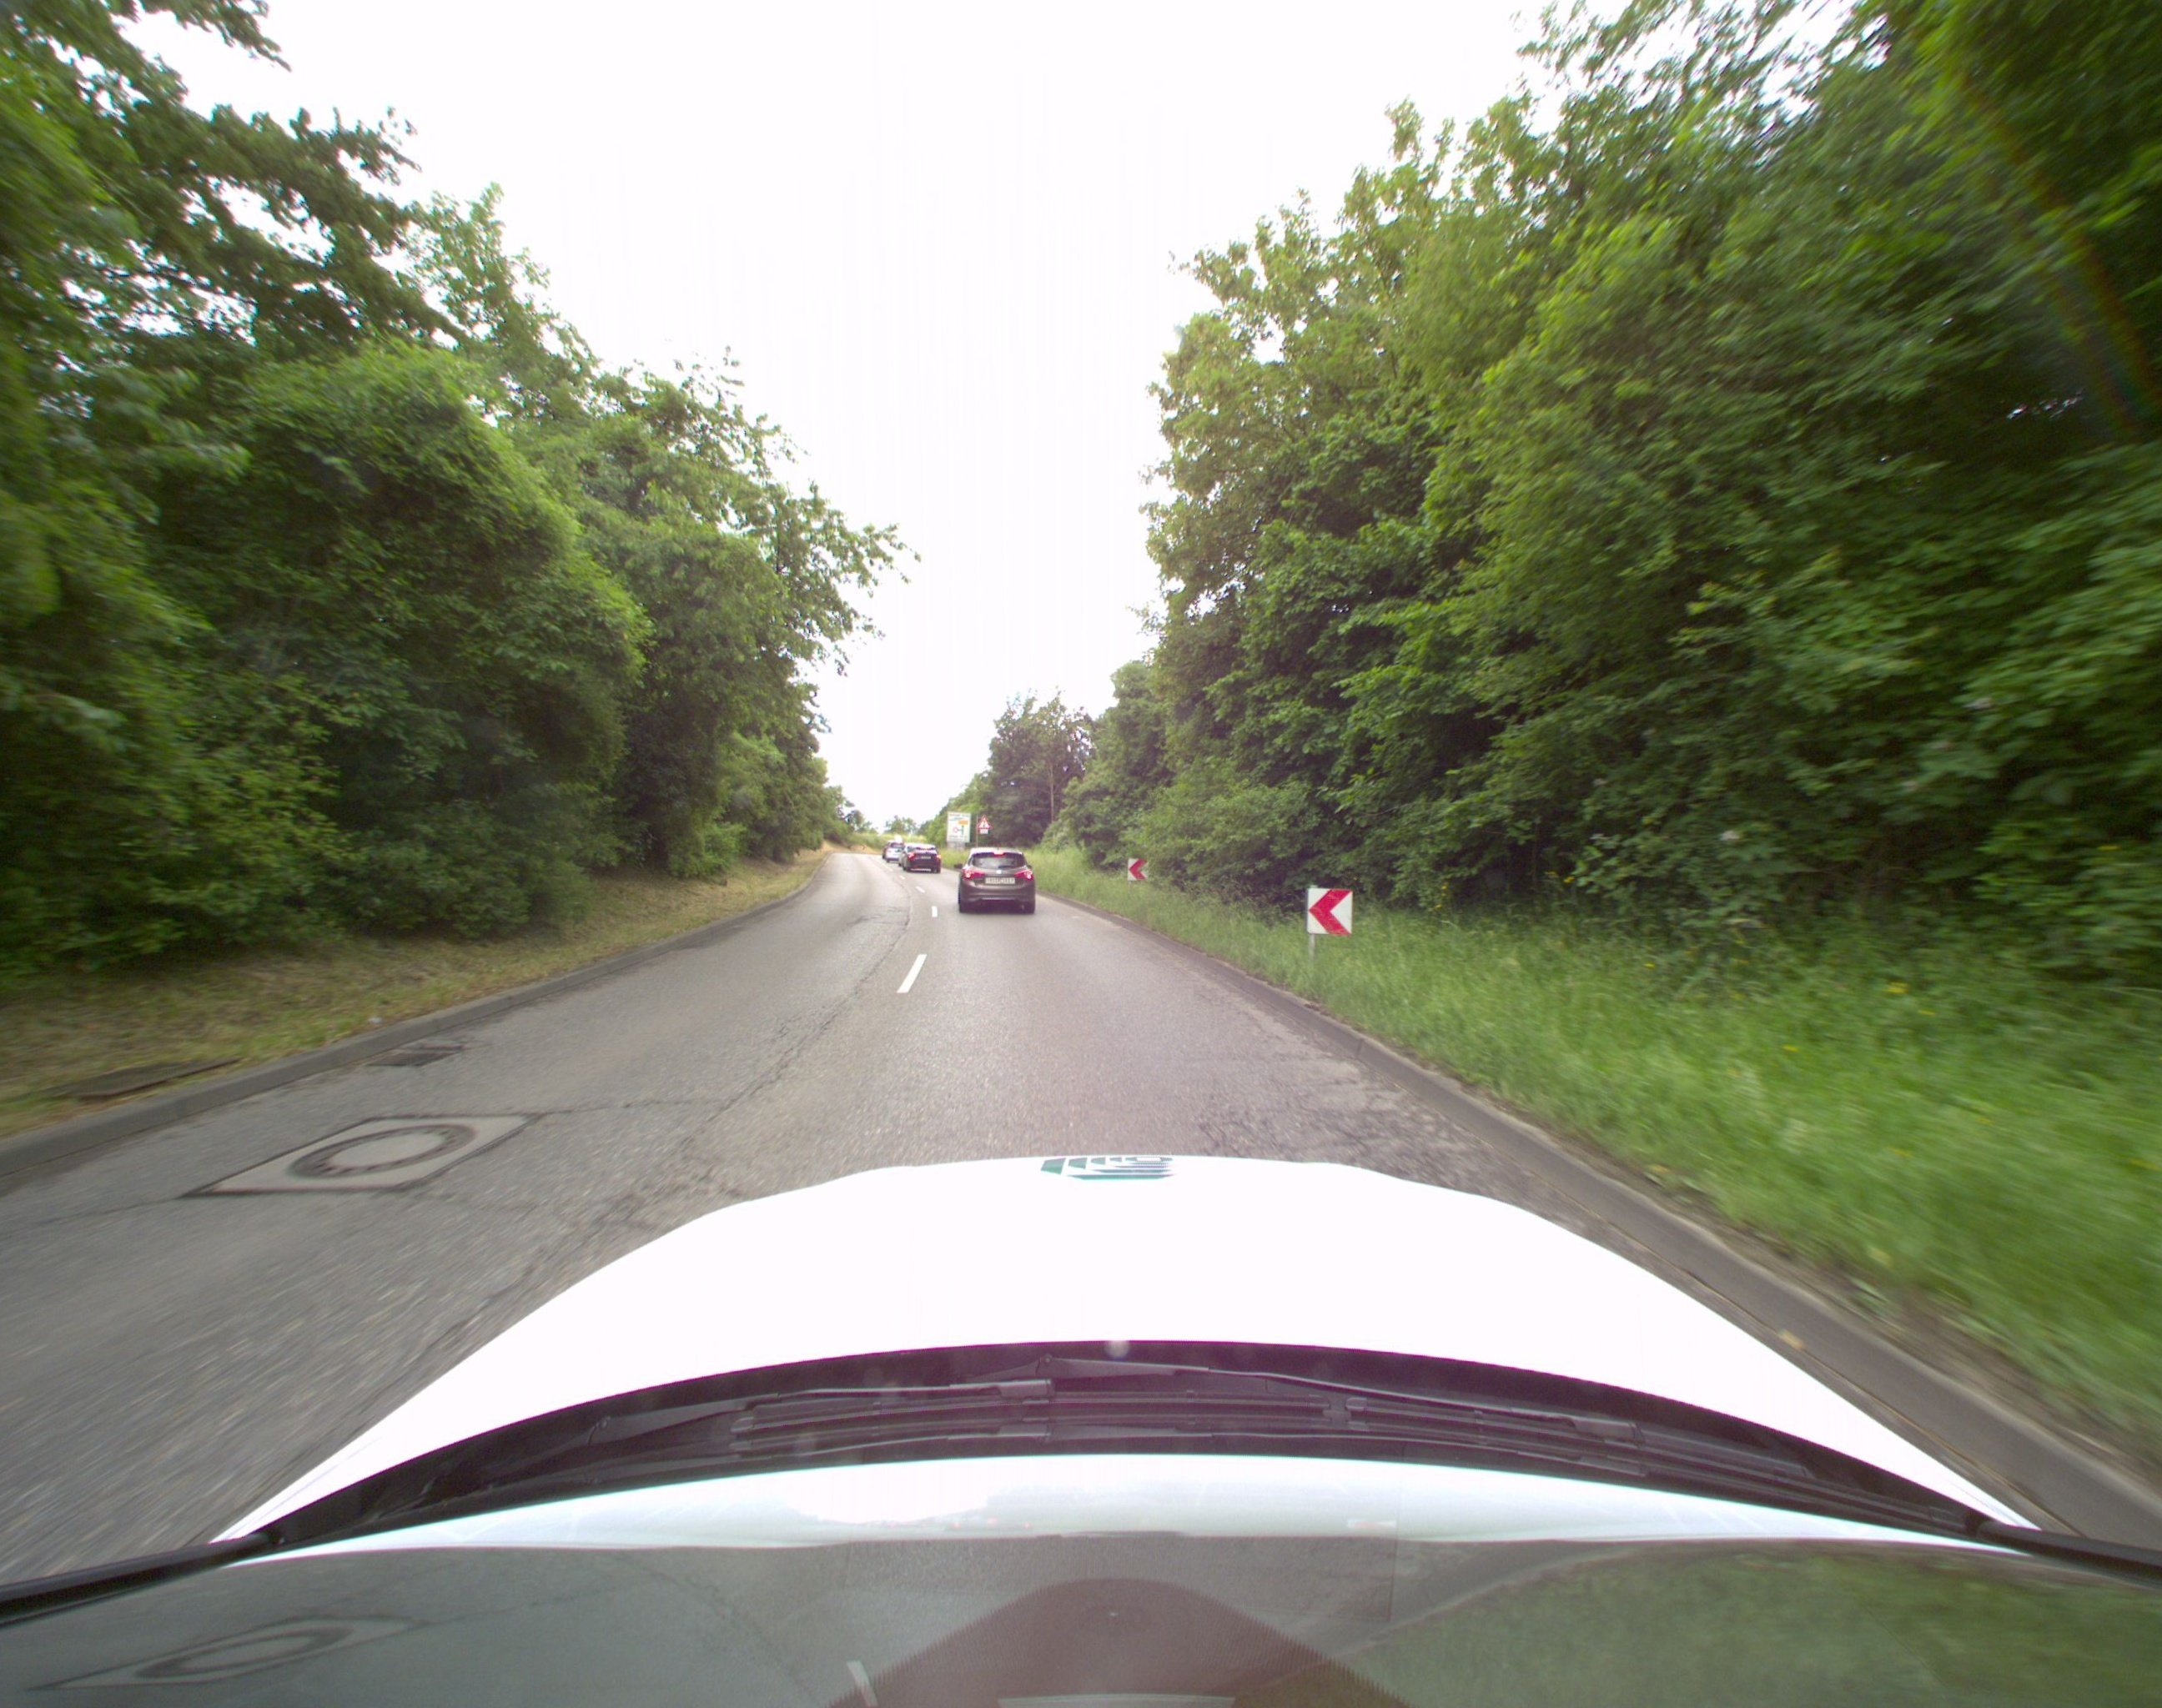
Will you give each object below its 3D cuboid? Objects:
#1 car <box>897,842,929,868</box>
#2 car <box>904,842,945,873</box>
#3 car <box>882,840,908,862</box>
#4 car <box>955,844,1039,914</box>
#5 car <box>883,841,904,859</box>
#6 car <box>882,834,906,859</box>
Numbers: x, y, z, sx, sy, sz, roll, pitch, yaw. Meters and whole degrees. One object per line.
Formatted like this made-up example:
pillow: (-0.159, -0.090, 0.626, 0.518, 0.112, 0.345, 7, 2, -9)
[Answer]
car: (-10.601, 0.021, 51.132, 1.739, 1.556, 3.525, 0, 1, -16)
car: (-8.364, 0.142, 43.355, 1.834, 1.556, 3.605, 0, 1, -16)
car: (-13.744, -0.210, 60.069, 1.739, 1.556, 3.525, 0, 1, -16)
car: (-2.155, 0.533, 20.027, 1.830, 1.556, 3.488, 1, 1, -10)
car: (-16.718, -0.365, 72.514, 1.739, 1.526, 3.526, 0, 1, -15)
car: (-15.465, -0.627, 67.287, 1.739, 1.934, 3.525, 0, 1, -16)
